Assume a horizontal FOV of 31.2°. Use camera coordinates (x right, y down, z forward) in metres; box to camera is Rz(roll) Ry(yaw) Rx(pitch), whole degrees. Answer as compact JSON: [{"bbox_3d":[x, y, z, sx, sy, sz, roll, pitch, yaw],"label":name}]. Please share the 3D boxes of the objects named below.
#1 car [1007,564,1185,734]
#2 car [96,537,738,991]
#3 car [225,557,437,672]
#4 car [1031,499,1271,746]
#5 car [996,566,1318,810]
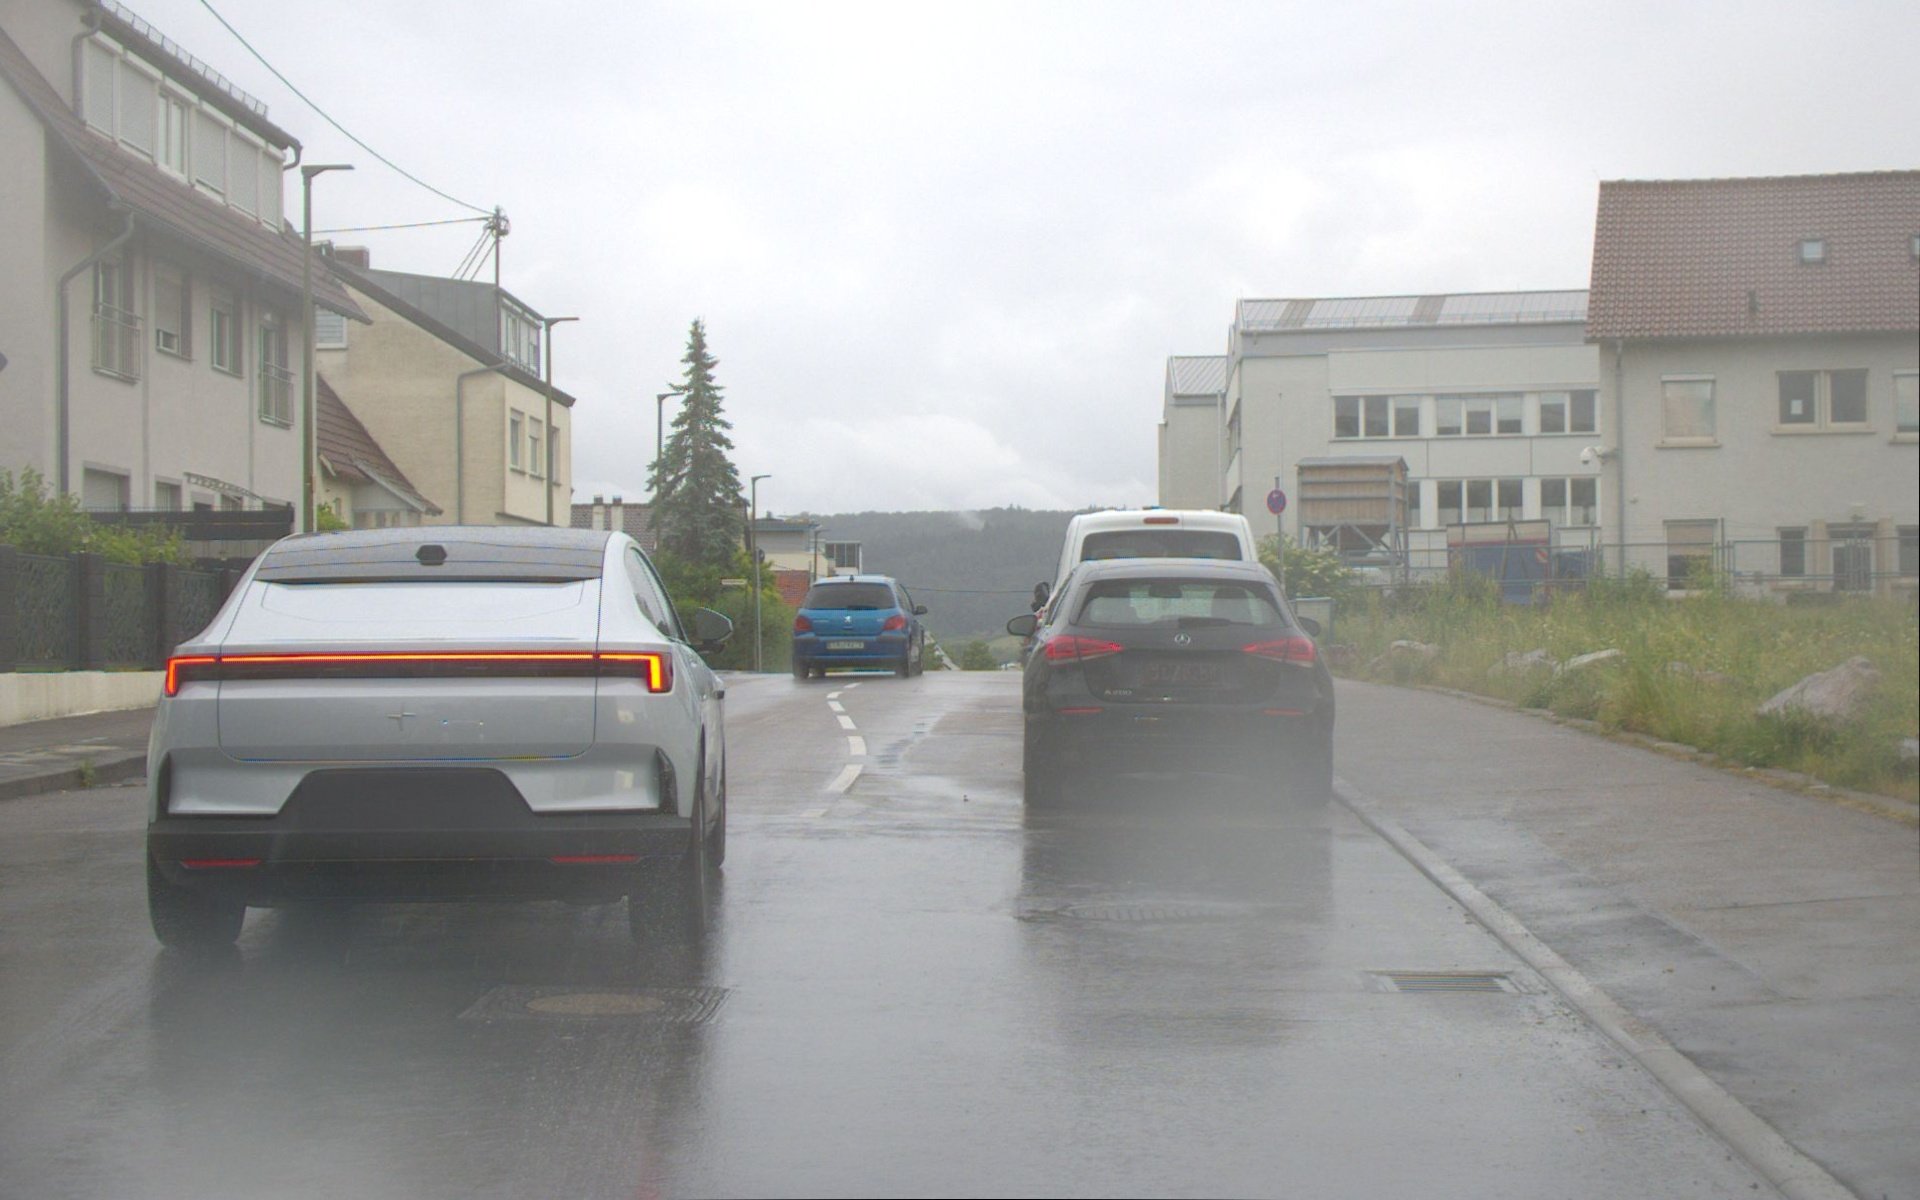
[{"bbox_3d":[1.376,0.452,34.453,1.642,1.569,4.643,1,0,3],"label":"car"},{"bbox_3d":[-1.943,0.531,13.707,1.993,1.497,4.670,0,0,-2],"label":"car"},{"bbox_3d":[-9.104,0.204,50.178,1.994,1.505,4.895,3,0,2],"label":"car"},{"bbox_3d":[1.478,0.158,27.947,1.768,1.819,4.574,1,0,1],"label":"car"},{"bbox_3d":[1.143,0.481,21.235,1.768,1.331,4.320,1,0,1],"label":"car"}]
